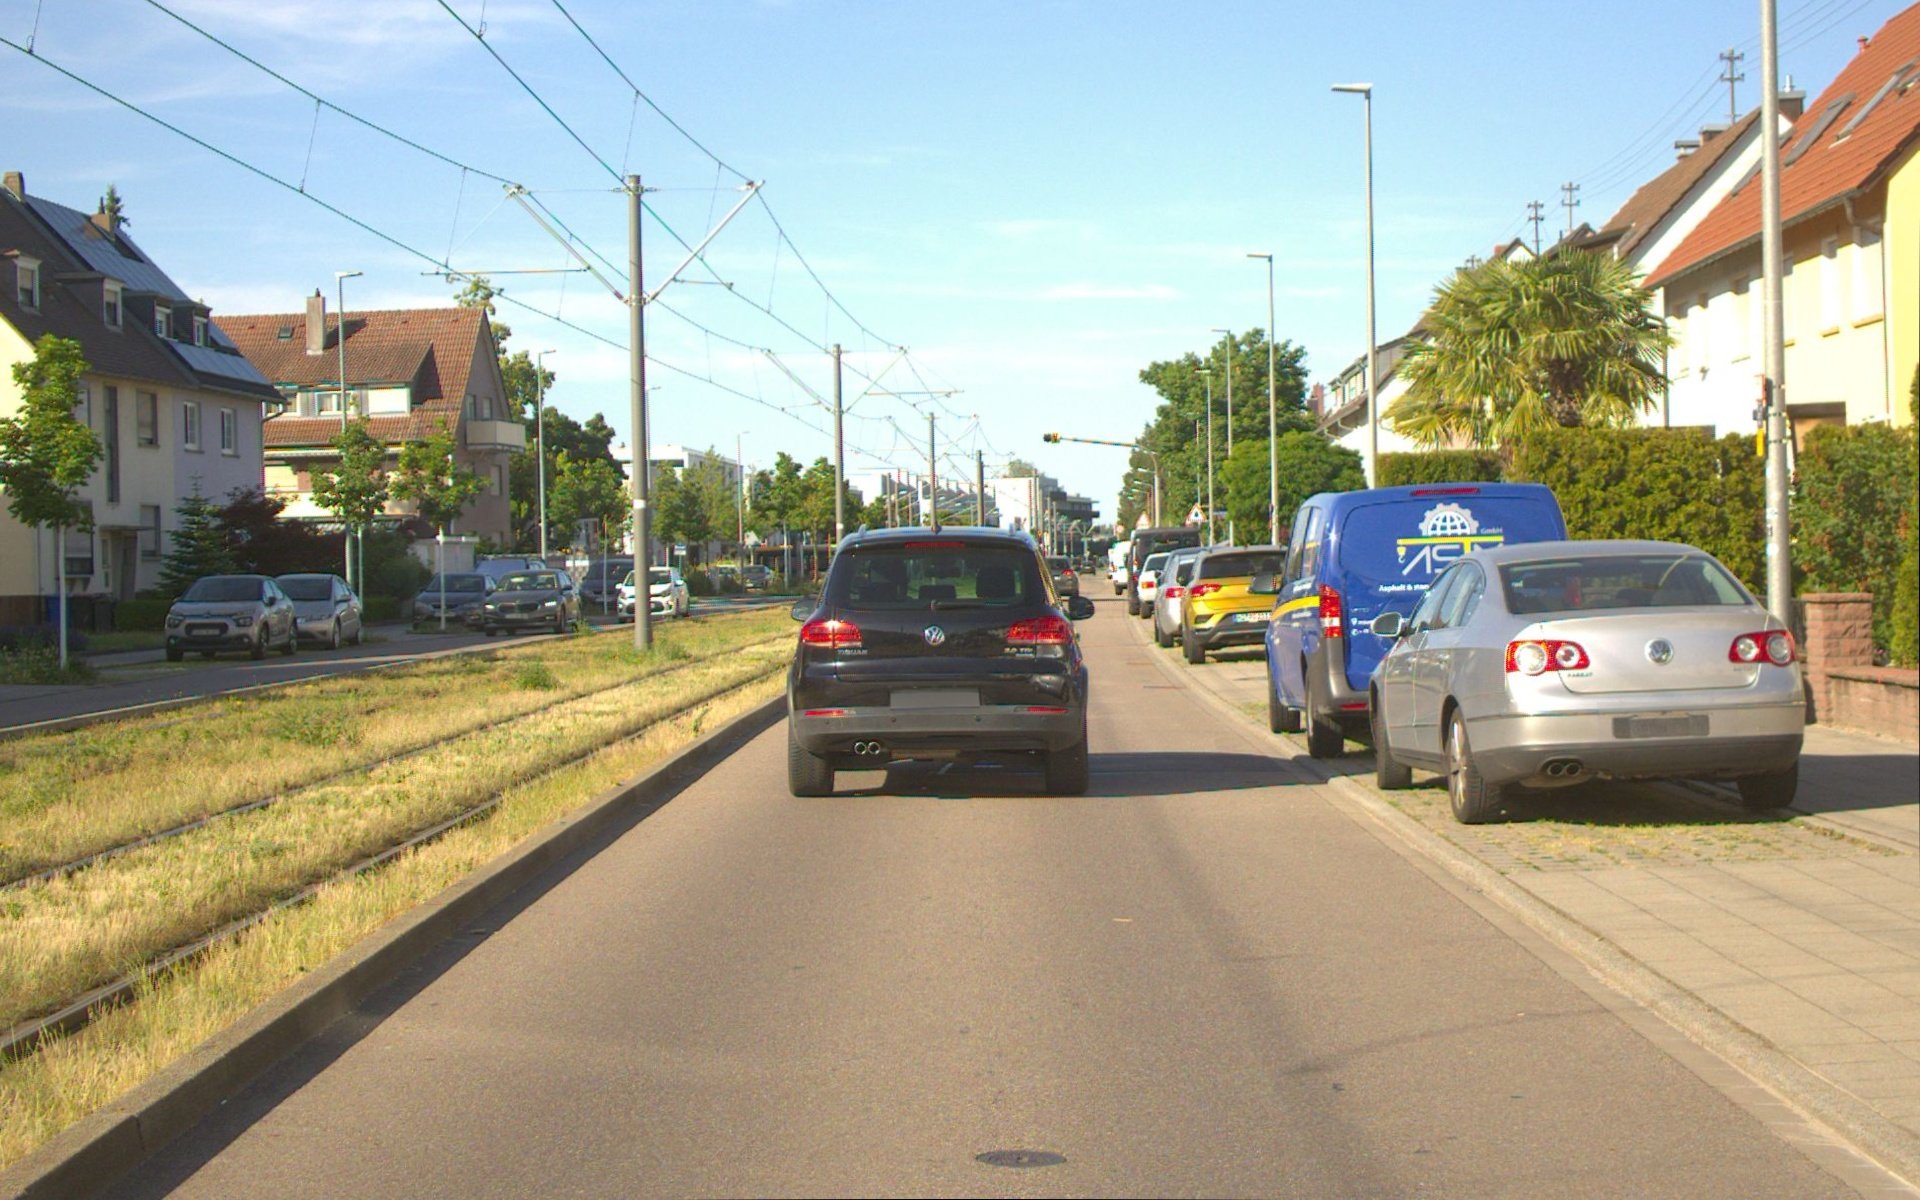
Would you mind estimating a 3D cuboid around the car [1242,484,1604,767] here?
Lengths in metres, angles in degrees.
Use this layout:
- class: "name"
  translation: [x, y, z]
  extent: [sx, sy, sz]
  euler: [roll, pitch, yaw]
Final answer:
- class: "car"
  translation: [3.328, 0.142, 25.665]
  extent: [1.993, 1.855, 4.917]
  euler: [-1, 1, 0]

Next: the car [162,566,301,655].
- class: "car"
  translation: [-12.903, 0.166, 61.079]
  extent: [1.659, 1.491, 3.579]
  euler: [-2, 1, 0]

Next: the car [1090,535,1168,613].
- class: "car"
  translation: [4.122, -0.653, 84.153]
  extent: [1.770, 1.838, 3.864]
  euler: [-1, 1, 1]

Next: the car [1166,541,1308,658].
- class: "car"
  translation: [3.816, -0.026, 47.832]
  extent: [1.645, 1.529, 3.864]
  euler: [-1, 0, 0]

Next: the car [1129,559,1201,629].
- class: "car"
  translation: [4.581, -0.152, 77.257]
  extent: [1.442, 1.472, 3.864]
  euler: [-1, 1, 1]

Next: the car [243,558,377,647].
- class: "car"
  translation: [-12.666, 0.019, 67.236]
  extent: [1.803, 1.626, 4.000]
  euler: [-1, 1, 0]

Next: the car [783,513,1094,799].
- class: "car"
  translation: [-0.219, 0.323, 22.287]
  extent: [1.811, 1.665, 4.258]
  euler: [1, 0, -3]

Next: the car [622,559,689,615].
- class: "car"
  translation: [-8.187, -0.338, 92.689]
  extent: [1.465, 1.449, 3.287]
  euler: [-1, 0, 0]

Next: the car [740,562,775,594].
- class: "car"
  translation: [-9.693, -1.034, 164.566]
  extent: [1.465, 1.449, 3.217]
  euler: [-1, 0, 0]

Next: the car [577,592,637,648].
- class: "car"
  translation: [-10.903, 0.611, 106.218]
  extent: [1.465, 1.671, 3.287]
  euler: [-1, 0, 0]

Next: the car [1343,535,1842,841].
- class: "car"
  translation: [3.390, 0.409, 19.294]
  extent: [1.786, 1.436, 4.460]
  euler: [-3, 1, -2]

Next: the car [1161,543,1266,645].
- class: "car"
  translation: [4.028, -0.124, 55.100]
  extent: [1.451, 1.546, 3.829]
  euler: [-1, 1, 1]

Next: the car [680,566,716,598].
- class: "car"
  translation: [-12.531, -0.853, 164.442]
  extent: [1.465, 1.449, 3.287]
  euler: [-1, 0, 0]

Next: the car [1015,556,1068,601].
- class: "car"
  translation: [2.627, -0.718, 111.295]
  extent: [1.572, 1.386, 3.614]
  euler: [-1, 1, 0]

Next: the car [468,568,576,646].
- class: "car"
  translation: [-9.745, 0.180, 76.721]
  extent: [1.873, 1.649, 4.000]
  euler: [-1, -1, 0]

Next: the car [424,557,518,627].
- class: "car"
  translation: [-11.810, -0.163, 83.263]
  extent: [1.660, 1.576, 4.000]
  euler: [-1, -1, 0]
